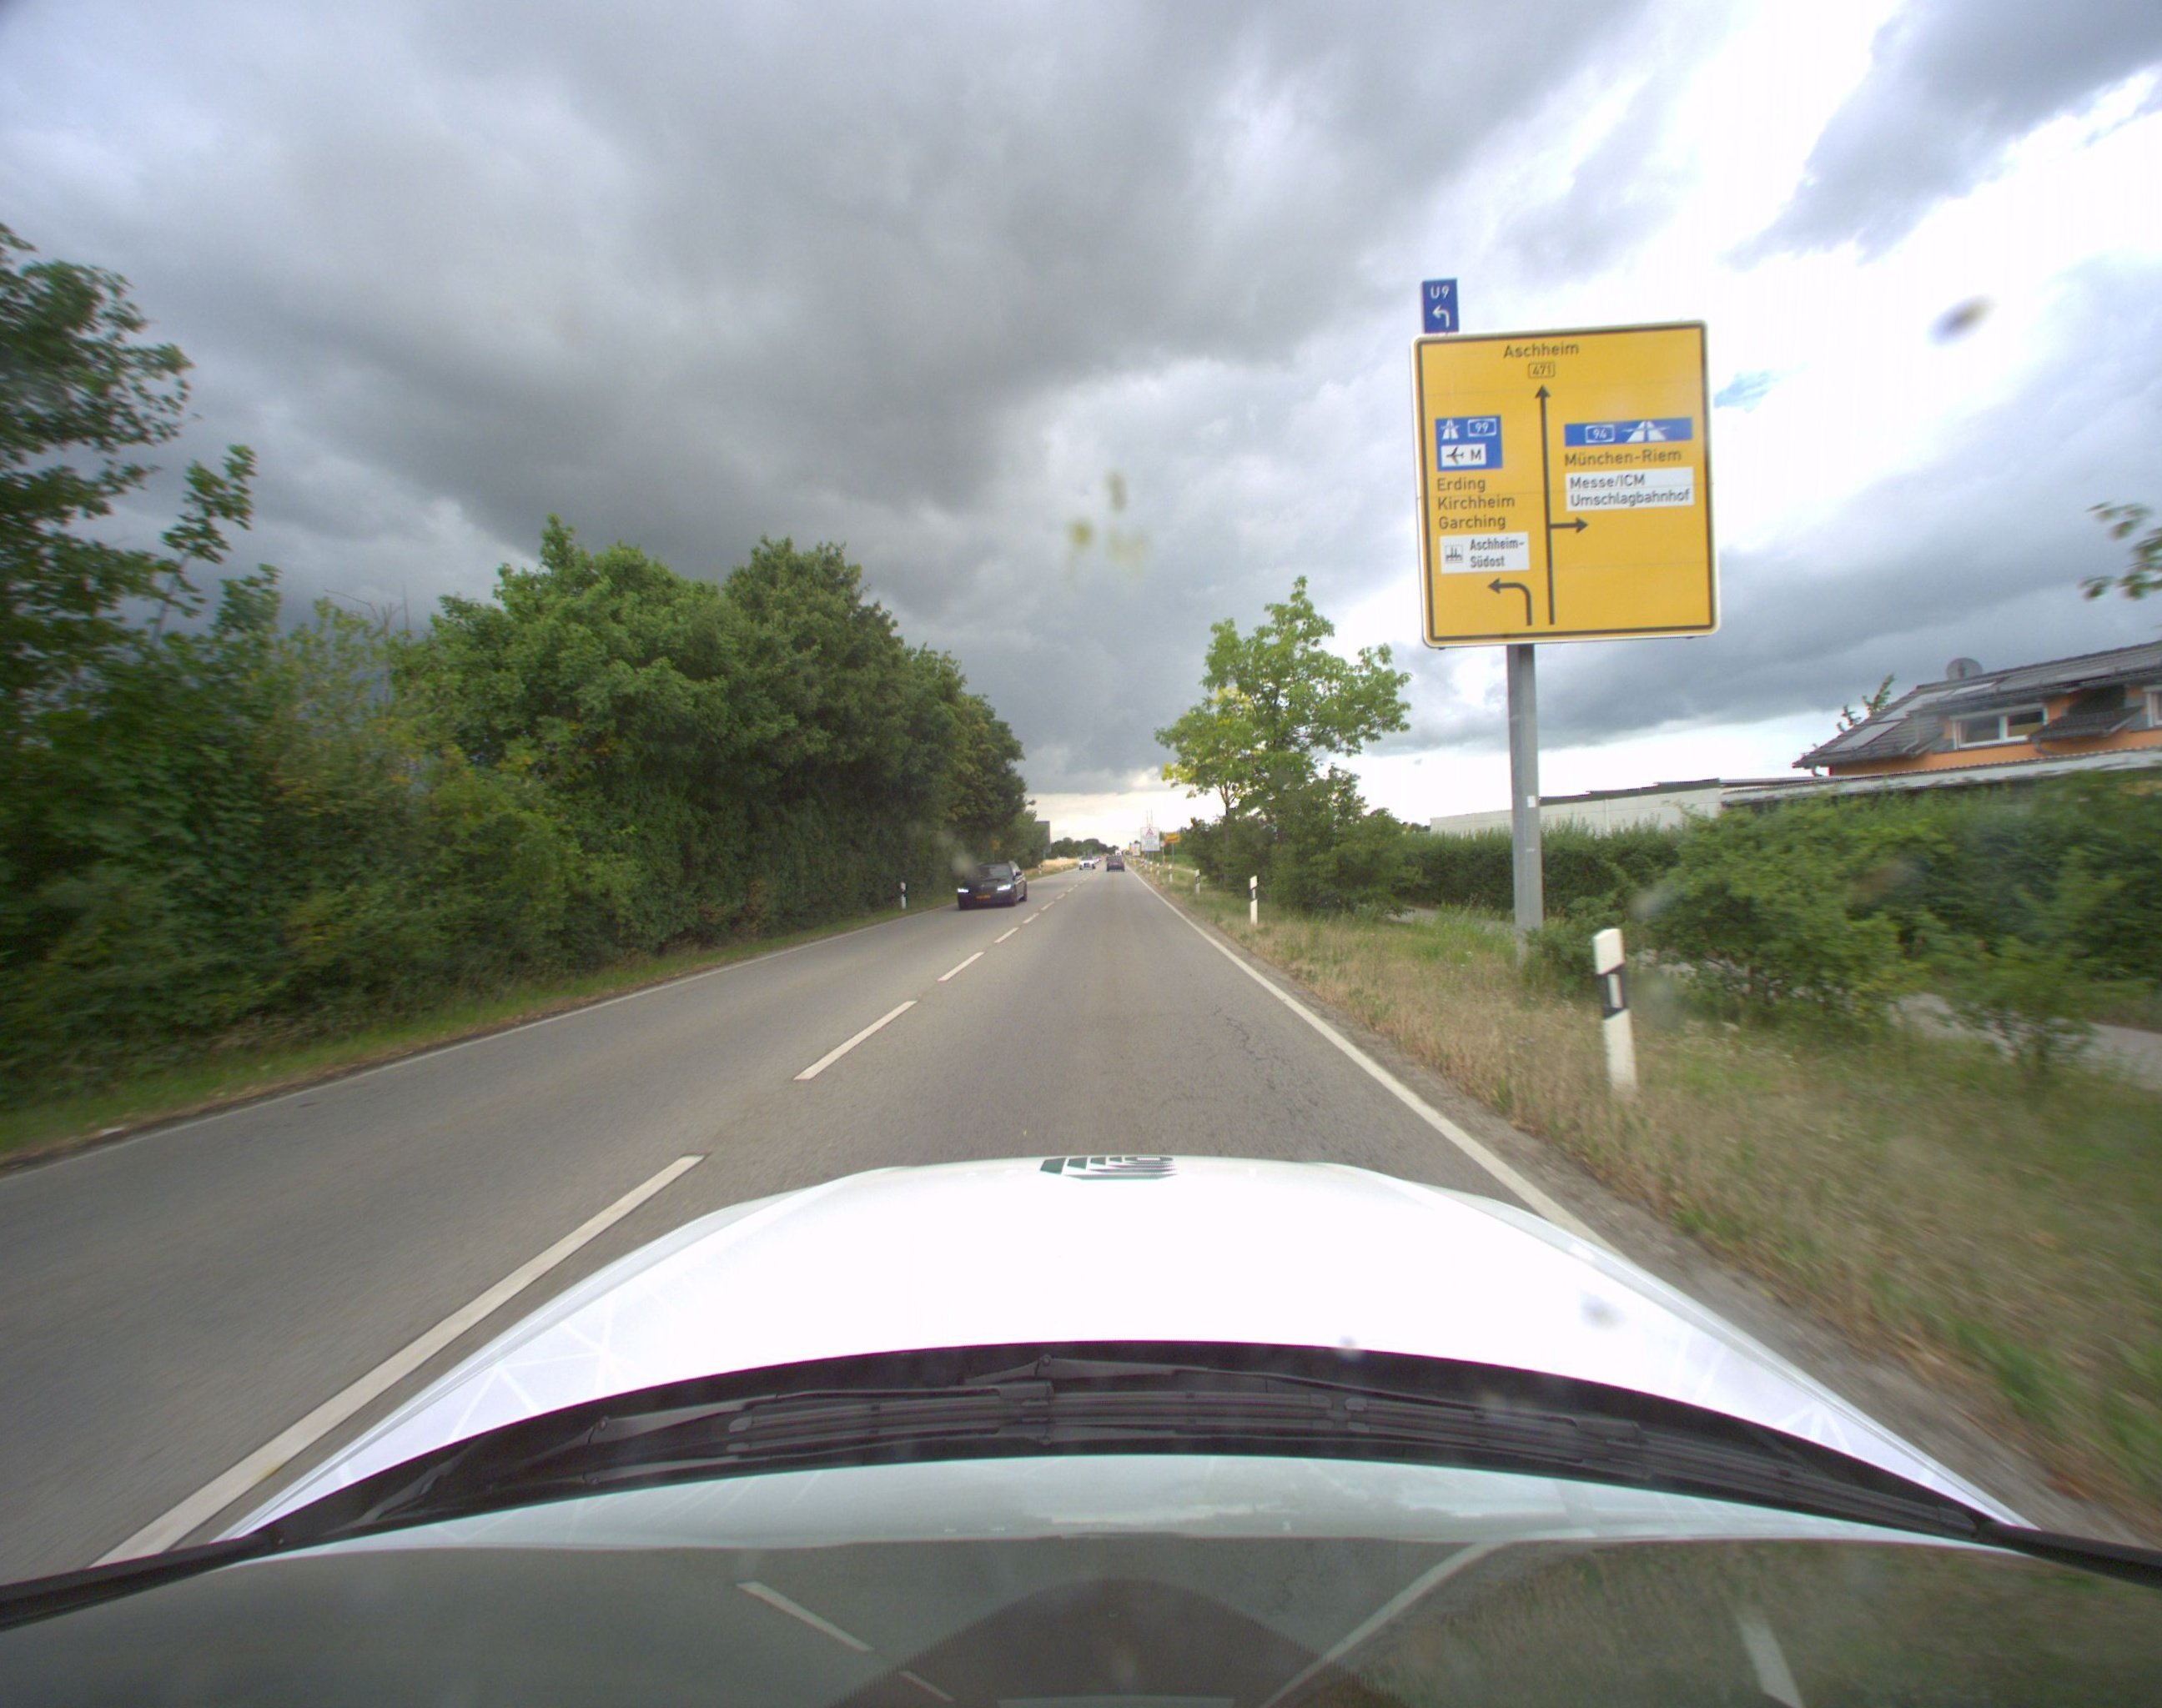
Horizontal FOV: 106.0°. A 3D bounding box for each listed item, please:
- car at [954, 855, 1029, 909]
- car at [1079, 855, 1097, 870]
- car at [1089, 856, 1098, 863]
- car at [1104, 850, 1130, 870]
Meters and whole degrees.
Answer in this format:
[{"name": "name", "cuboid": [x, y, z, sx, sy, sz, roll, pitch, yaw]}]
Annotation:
[{"name": "car", "cuboid": [-2.939, 0.893, 27.786, 1.934, 1.586, 4.555, -4, 0, 0]}, {"name": "car", "cuboid": [0.884, 1.052, 102.859, 1.986, 1.684, 4.812, -3, 0, 2]}, {"name": "car", "cuboid": [2.689, 1.152, 177.332, 1.722, 1.363, 3.952, -2, 0, 2]}, {"name": "car", "cuboid": [3.647, 0.615, 83.307, 2.364, 1.880, 4.477, -4, 0, 0]}]
